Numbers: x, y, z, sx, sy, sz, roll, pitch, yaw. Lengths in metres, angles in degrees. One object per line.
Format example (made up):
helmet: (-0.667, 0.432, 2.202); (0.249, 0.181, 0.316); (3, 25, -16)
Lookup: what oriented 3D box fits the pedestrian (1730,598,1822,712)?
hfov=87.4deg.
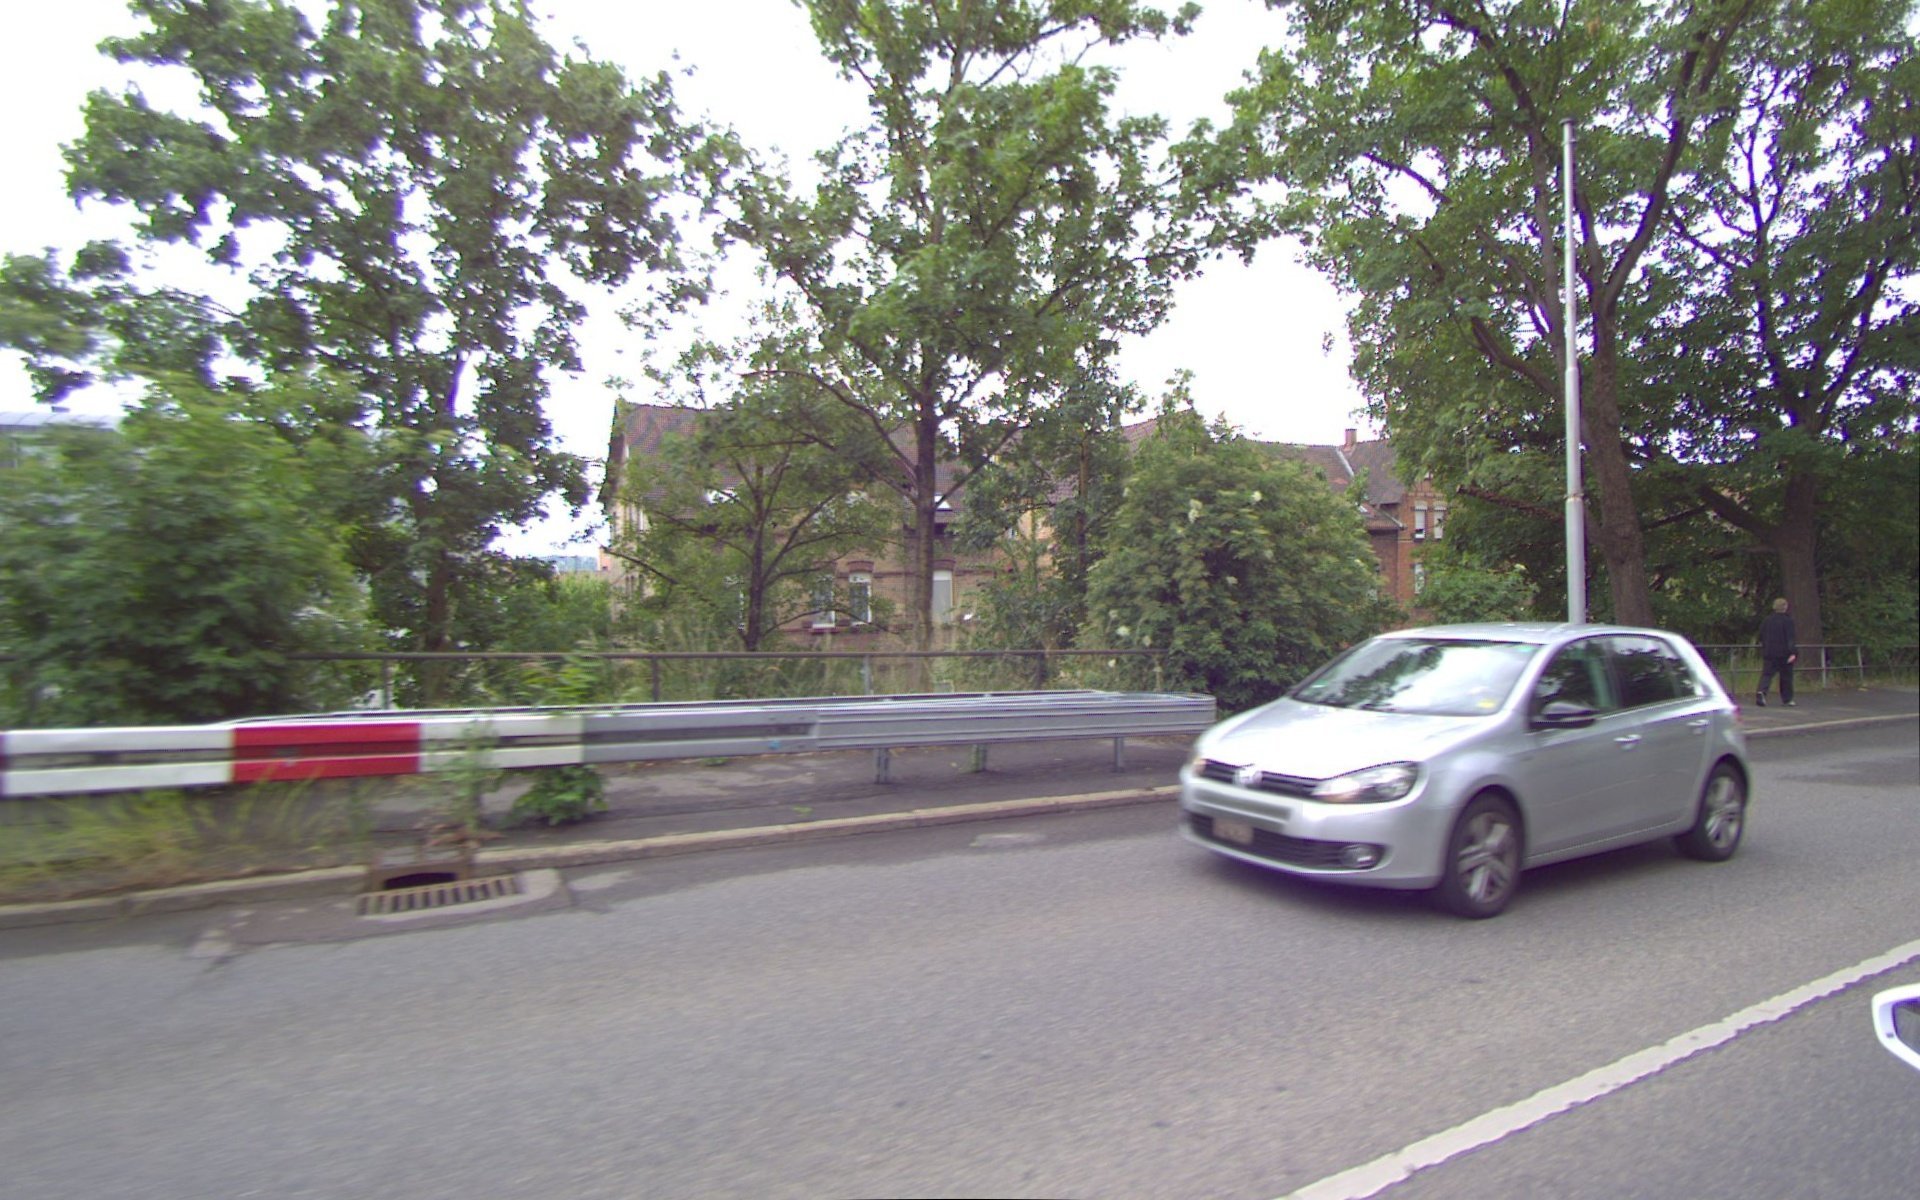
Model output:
pedestrian: (13.622, 0.887, 16.779); (1.196, 1.798, 0.784); (1, 3, -33)

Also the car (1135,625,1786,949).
car: (3.270, 0.918, 6.381); (4.095, 1.446, 1.785); (2, -1, -31)
